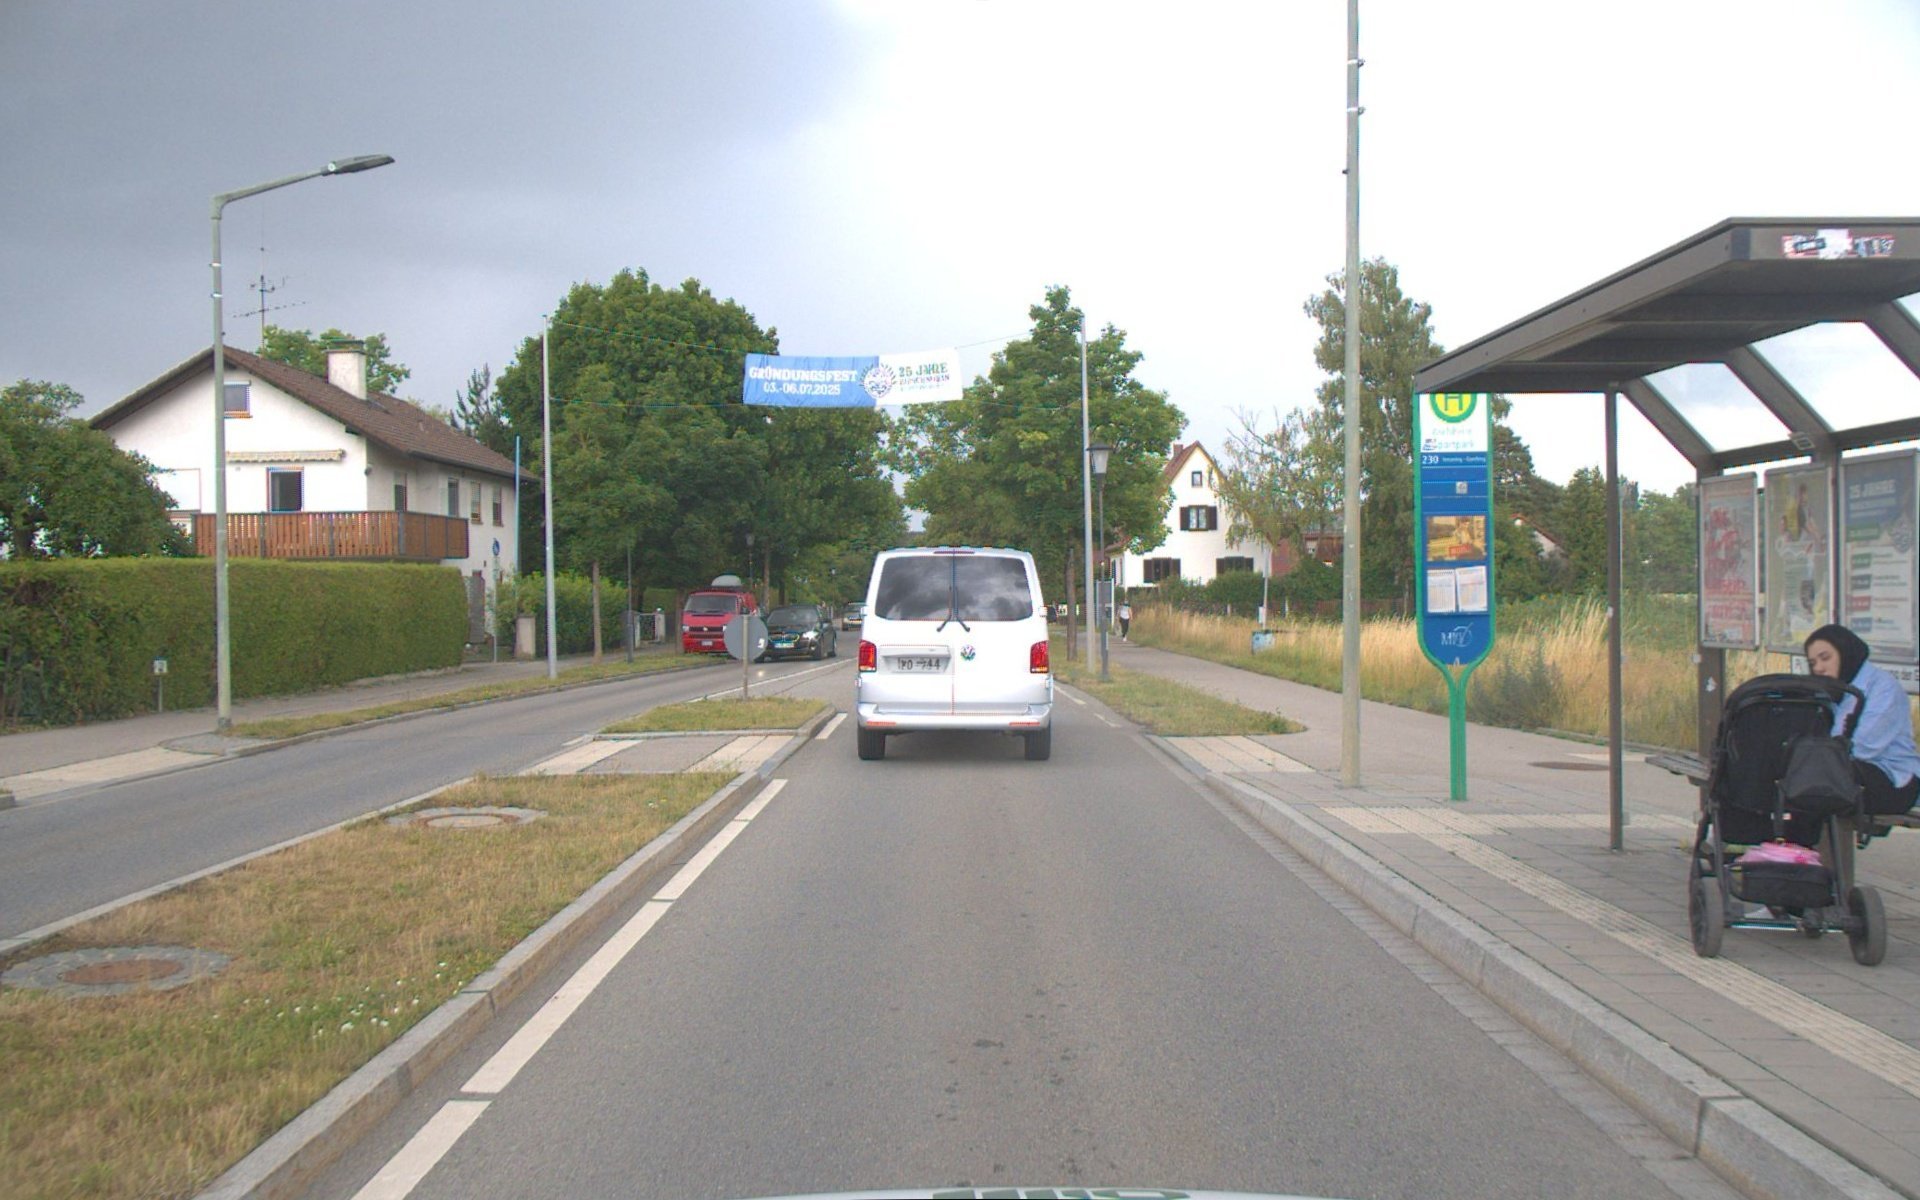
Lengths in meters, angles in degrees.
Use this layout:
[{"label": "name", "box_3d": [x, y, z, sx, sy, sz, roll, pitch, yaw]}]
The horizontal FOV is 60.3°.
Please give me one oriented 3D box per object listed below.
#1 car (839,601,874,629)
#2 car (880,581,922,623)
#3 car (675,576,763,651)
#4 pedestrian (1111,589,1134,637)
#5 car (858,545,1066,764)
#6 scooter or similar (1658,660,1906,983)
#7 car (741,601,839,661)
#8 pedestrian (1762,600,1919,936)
[{"label": "car", "box_3d": [-6.097, 0.884, 97.884, 1.671, 1.559, 3.508, -2, 0, 2]}, {"label": "car", "box_3d": [-2.932, 0.111, 82.851, 1.953, 2.049, 3.999, 1, 0, -1]}, {"label": "car", "box_3d": [-6.995, 0.364, 48.489, 1.792, 2.066, 5.046, 1, 0, 0]}, {"label": "pedestrian", "box_3d": [6.032, 0.483, 61.348, 0.820, 1.785, 0.870, 0, 0, 4]}, {"label": "car", "box_3d": [-0.025, 0.496, 16.715, 1.849, 1.945, 3.999, 0, 0, -1]}, {"label": "scooter or similar", "box_3d": [3.180, 0.789, 6.364, 0.694, 1.080, 1.056, 0, -1, 36]}, {"label": "car", "box_3d": [-4.518, 0.803, 44.560, 1.880, 1.479, 4.498, -1, 0, 4]}, {"label": "pedestrian", "box_3d": [3.748, 0.670, 6.826, 0.650, 1.325, 0.505, 1, -1, 8]}]
